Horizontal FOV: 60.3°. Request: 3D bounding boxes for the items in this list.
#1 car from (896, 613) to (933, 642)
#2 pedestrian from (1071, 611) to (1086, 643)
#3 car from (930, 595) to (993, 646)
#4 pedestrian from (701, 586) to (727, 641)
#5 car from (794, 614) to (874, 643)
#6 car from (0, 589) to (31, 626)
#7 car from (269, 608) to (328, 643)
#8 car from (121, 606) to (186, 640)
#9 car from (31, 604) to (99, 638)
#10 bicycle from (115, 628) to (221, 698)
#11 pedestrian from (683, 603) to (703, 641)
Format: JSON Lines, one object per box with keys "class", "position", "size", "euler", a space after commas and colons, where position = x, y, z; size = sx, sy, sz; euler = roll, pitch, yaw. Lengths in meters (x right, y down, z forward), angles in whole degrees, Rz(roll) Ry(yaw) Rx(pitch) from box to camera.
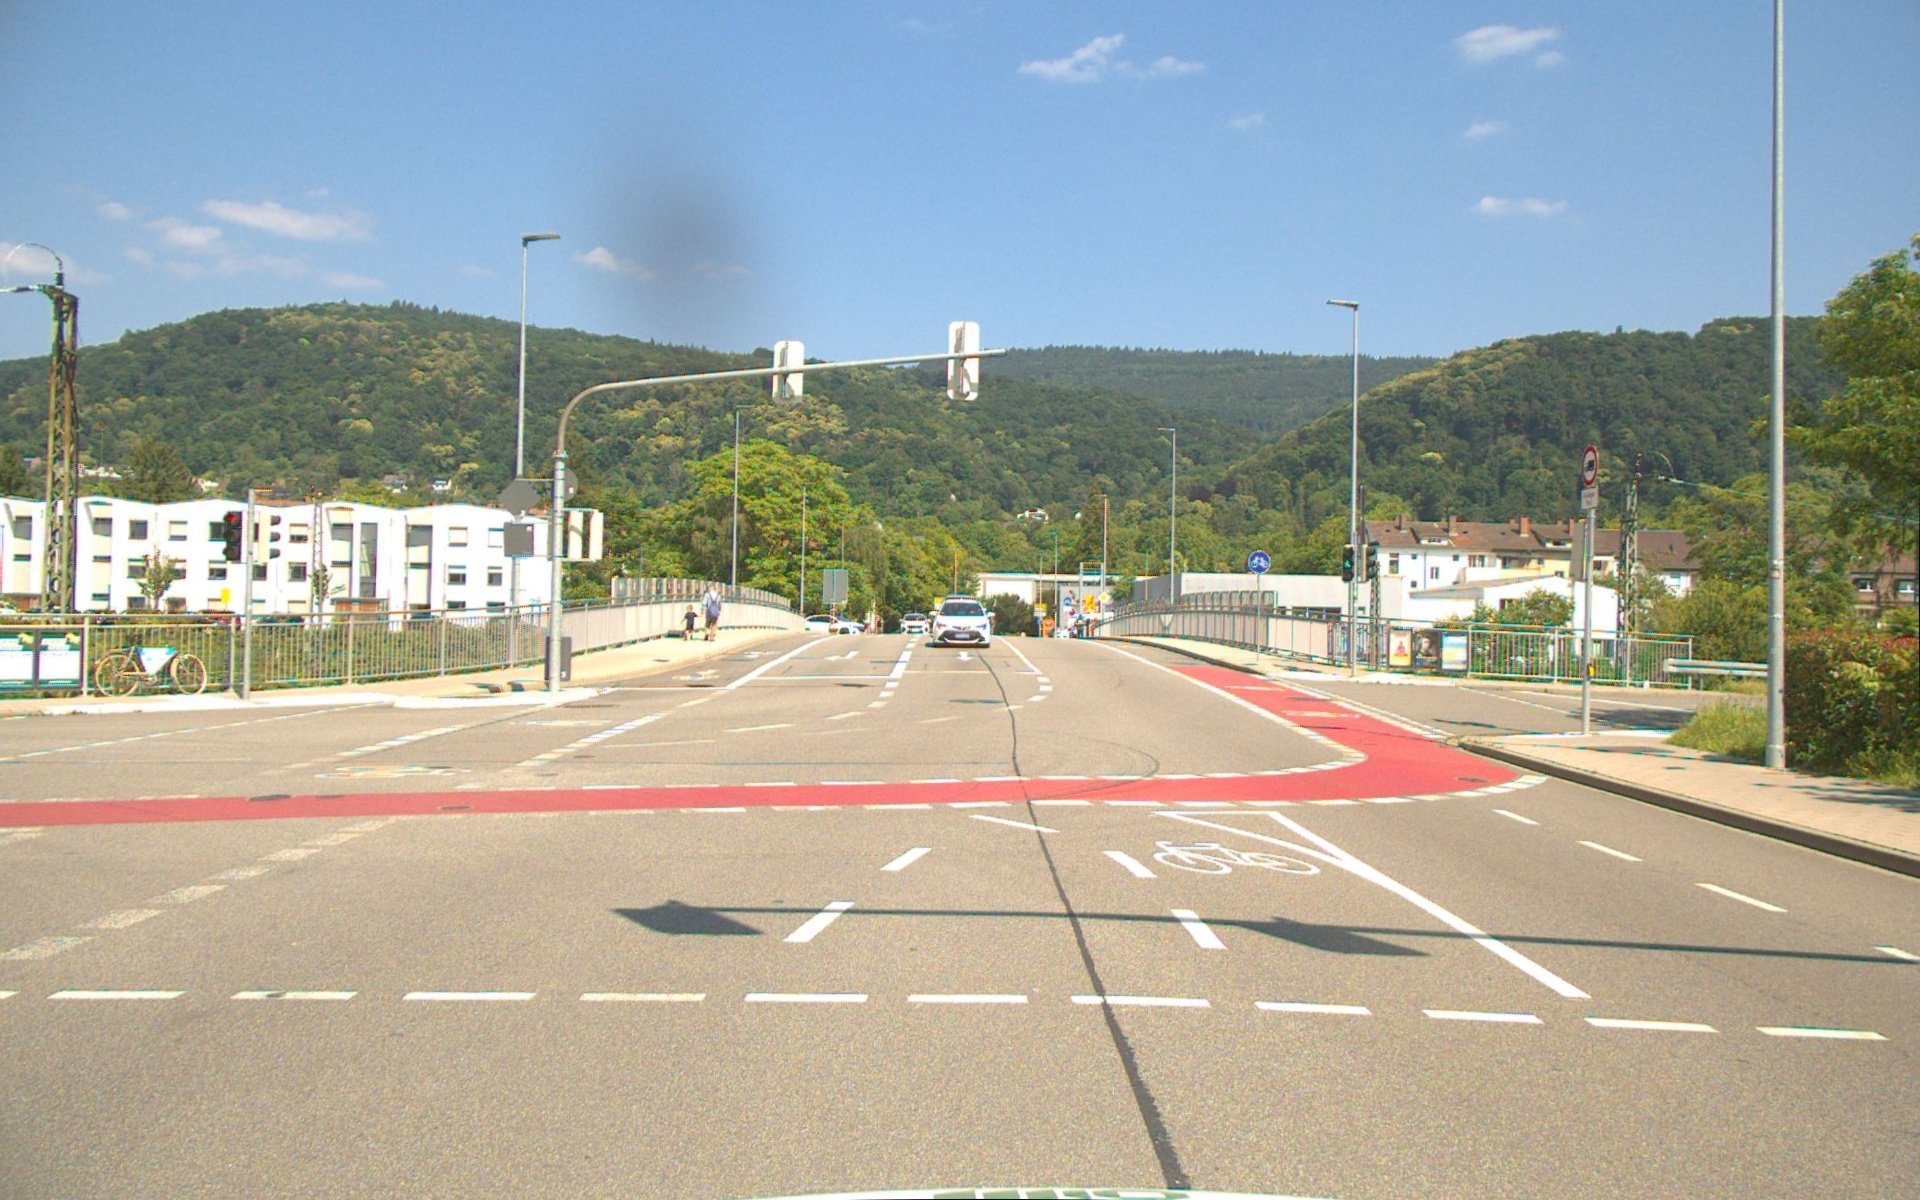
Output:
{"class": "car", "position": [-2.906, 1.736, 106.492], "size": [1.952, 1.749, 4.635], "euler": [1, 0, 3]}
{"class": "pedestrian", "position": [7.648, 1.766, 107.068], "size": [0.838, 2.049, 1.155], "euler": [1, 0, -1]}
{"class": "car", "position": [0.005, 0.622, 51.484], "size": [1.696, 1.495, 4.407], "euler": [1, 0, -3]}
{"class": "pedestrian", "position": [-7.463, 0.418, 50.118], "size": [0.630, 1.646, 0.920], "euler": [1, 0, -1]}
{"class": "car", "position": [-8.345, 1.882, 109.677], "size": [4.946, 1.749, 1.998], "euler": [1, 0, 26]}
{"class": "car", "position": [-57.442, 0.416, 96.962], "size": [4.902, 2.149, 1.988], "euler": [1, 0, -21]}
{"class": "car", "position": [-40.707, 1.551, 101.868], "size": [1.954, 2.049, 4.468], "euler": [1, 0, -3]}
{"class": "car", "position": [-49.700, 1.396, 101.964], "size": [1.954, 2.049, 4.468], "euler": [1, 0, -3]}
{"class": "car", "position": [-55.739, 1.297, 103.098], "size": [1.954, 2.049, 4.468], "euler": [1, 0, -3]}
{"class": "bicycle", "position": [-13.141, 1.034, 27.484], "size": [0.292, 1.120, 1.613], "euler": [1, -1, 36]}
{"class": "pedestrian", "position": [-8.054, 0.653, 49.848], "size": [0.501, 1.141, 0.476], "euler": [1, -1, -1]}
